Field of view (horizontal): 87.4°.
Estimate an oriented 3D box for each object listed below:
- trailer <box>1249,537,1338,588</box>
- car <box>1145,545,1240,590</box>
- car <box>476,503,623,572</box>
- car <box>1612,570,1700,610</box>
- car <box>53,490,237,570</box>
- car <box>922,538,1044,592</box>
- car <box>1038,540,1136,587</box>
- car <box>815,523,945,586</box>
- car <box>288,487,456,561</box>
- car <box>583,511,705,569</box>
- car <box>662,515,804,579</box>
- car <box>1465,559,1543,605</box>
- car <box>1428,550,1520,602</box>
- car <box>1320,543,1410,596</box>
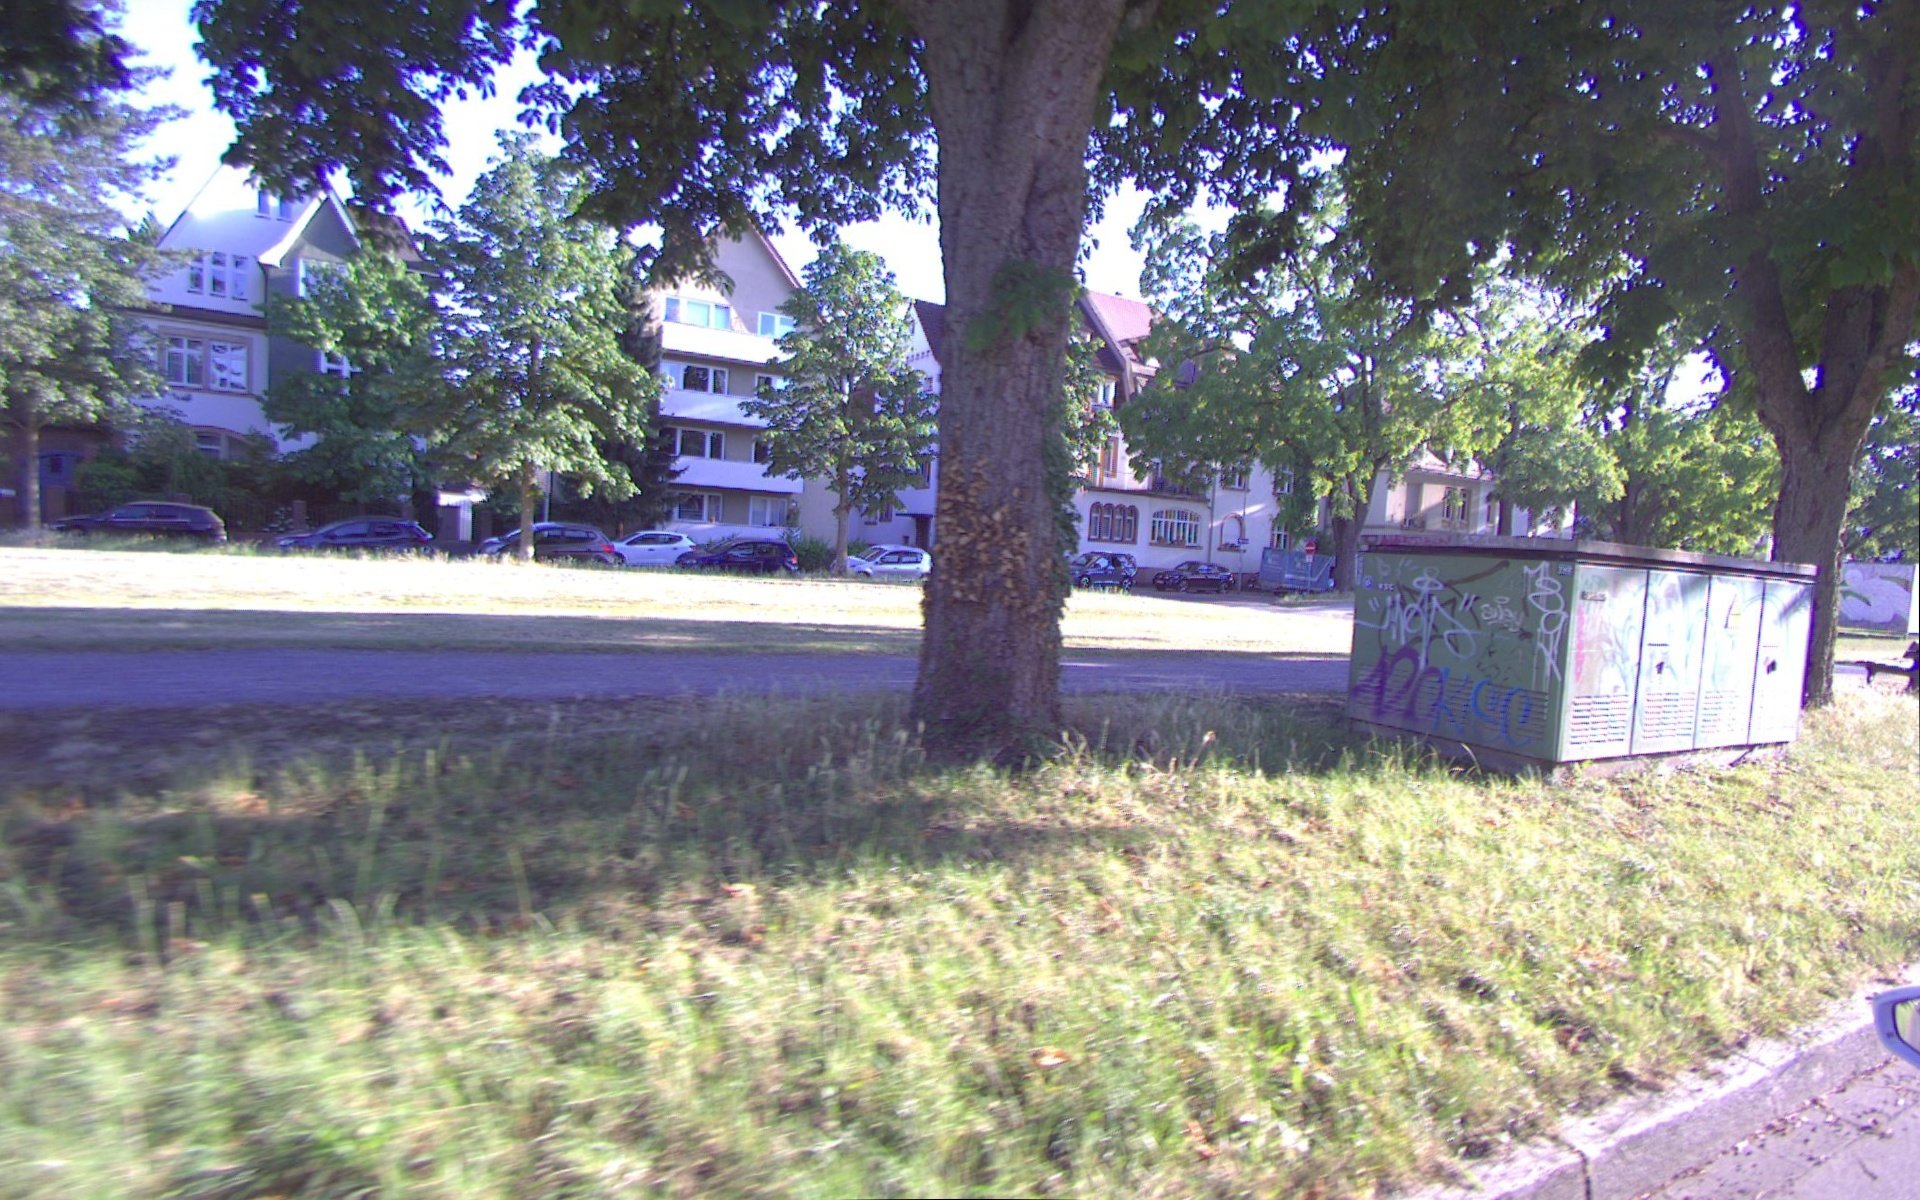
[{"bbox_3d":[18.672,-2.070,56.185,4.668,2.460,1.984,3,4,-30],"label":"trailer"},{"bbox_3d":[12.226,-1.698,52.751,4.697,1.979,1.983,3,4,-32],"label":"car"},{"bbox_3d":[-12.598,-1.920,30.793,3.950,1.706,1.985,3,4,-28],"label":"car"},{"bbox_3d":[45.575,-0.659,65.719,5.394,2.266,2.522,2,4,-30],"label":"car"},{"bbox_3d":[-24.727,-2.128,30.667,3.948,2.040,1.986,3,4,-26],"label":"car"},{"bbox_3d":[0.905,-1.362,39.131,4.204,1.671,1.984,3,4,-29],"label":"car"},{"bbox_3d":[6.209,-1.774,48.968,4.448,1.901,1.982,3,4,-33],"label":"car"},{"bbox_3d":[-2.924,-1.664,36.730,4.204,1.885,1.984,3,4,-29],"label":"car"},{"bbox_3d":[-16.643,-2.154,28.663,3.950,1.706,1.985,3,4,-28],"label":"car"},{"bbox_3d":[-11.913,-2.257,37.900,3.957,1.806,1.982,3,4,-33],"label":"car"},{"bbox_3d":[-7.675,-1.774,33.977,4.204,1.744,1.984,3,4,-29],"label":"car"},{"bbox_3d":[30.588,-1.004,56.467,4.263,2.205,1.677,3,4,-30],"label":"car"},{"bbox_3d":[33.158,-1.545,64.745,5.751,2.961,2.426,3,1,-30],"label":"car"},{"bbox_3d":[23.936,-1.802,59.317,5.126,2.708,1.984,3,4,-30],"label":"car"}]
